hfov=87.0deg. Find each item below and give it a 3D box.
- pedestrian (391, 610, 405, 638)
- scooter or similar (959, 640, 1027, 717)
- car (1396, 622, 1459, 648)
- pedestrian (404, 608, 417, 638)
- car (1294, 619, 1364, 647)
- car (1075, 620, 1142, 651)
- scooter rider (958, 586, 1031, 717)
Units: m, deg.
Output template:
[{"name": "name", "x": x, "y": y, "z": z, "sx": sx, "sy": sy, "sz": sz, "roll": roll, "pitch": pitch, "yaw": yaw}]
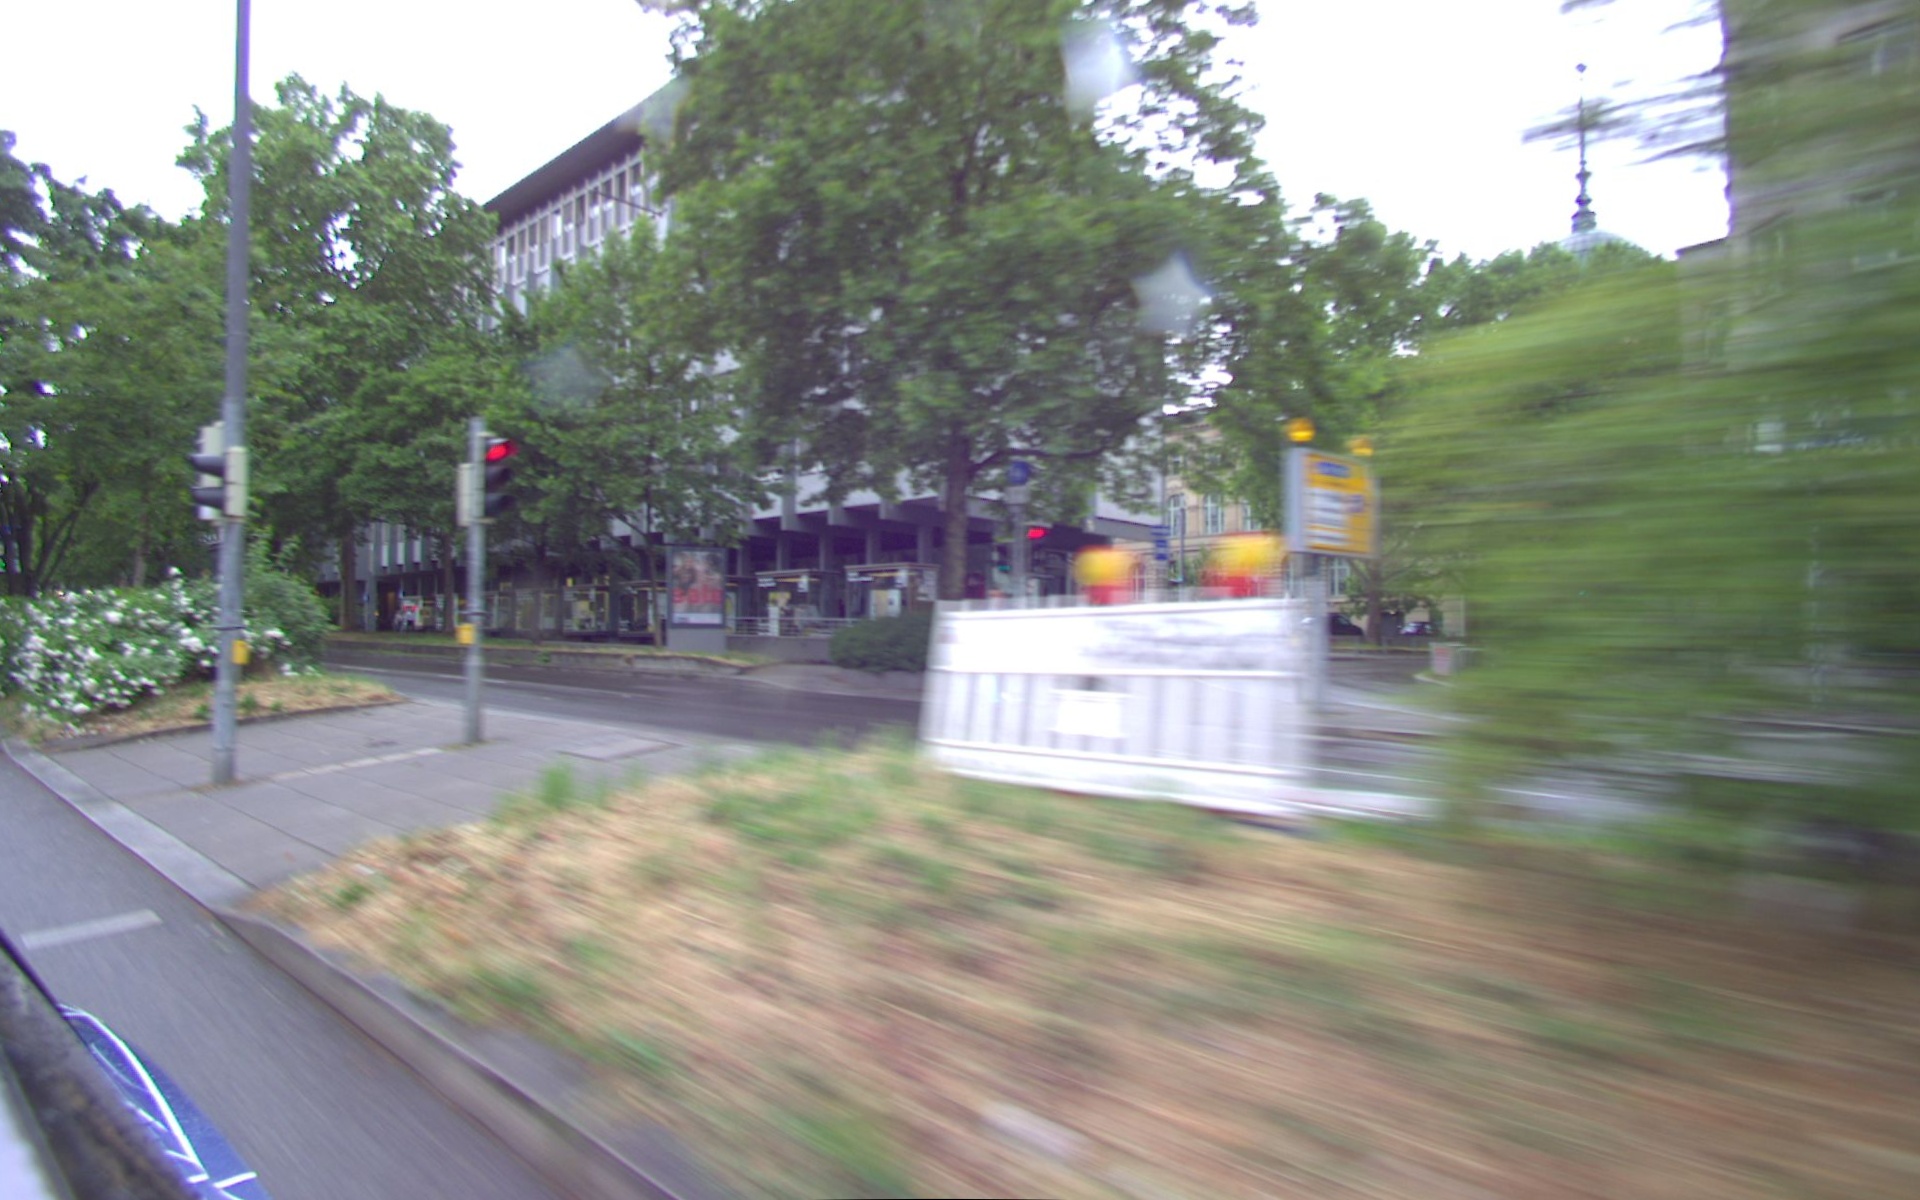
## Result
[{"name": "pedestrian", "x": -34.381, "y": 1.479, "z": 61.942, "sx": 0.686, "sy": 1.721, "sz": 0.557, "roll": -1, "pitch": -2, "yaw": 42}, {"name": "scooter or similar", "x": 0.521, "y": 1.195, "z": 15.656, "sx": 0.434, "sy": 1.122, "sz": 1.170, "roll": -1, "pitch": -2, "yaw": 38}, {"name": "car", "x": 29.559, "y": 2.174, "z": 64.024, "sx": 3.915, "sy": 1.564, "sz": 1.749, "roll": 0, "pitch": -1, "yaw": -32}, {"name": "pedestrian", "x": -33.989, "y": 1.437, "z": 62.587, "sx": 0.522, "sy": 1.821, "sz": 0.542, "roll": -1, "pitch": -2, "yaw": 42}, {"name": "car", "x": 21.264, "y": 1.890, "z": 58.318, "sx": 3.915, "sy": 1.564, "sz": 1.749, "roll": 0, "pitch": -1, "yaw": -32}, {"name": "car", "x": 9.337, "y": 2.191, "z": 63.452, "sx": 4.078, "sy": 1.852, "sz": 1.931, "roll": 1, "pitch": -2, "yaw": -41}, {"name": "scooter rider", "x": 0.538, "y": 0.779, "z": 15.644, "sx": 0.756, "sy": 1.955, "sz": 0.891, "roll": -1, "pitch": -2, "yaw": 39}]
